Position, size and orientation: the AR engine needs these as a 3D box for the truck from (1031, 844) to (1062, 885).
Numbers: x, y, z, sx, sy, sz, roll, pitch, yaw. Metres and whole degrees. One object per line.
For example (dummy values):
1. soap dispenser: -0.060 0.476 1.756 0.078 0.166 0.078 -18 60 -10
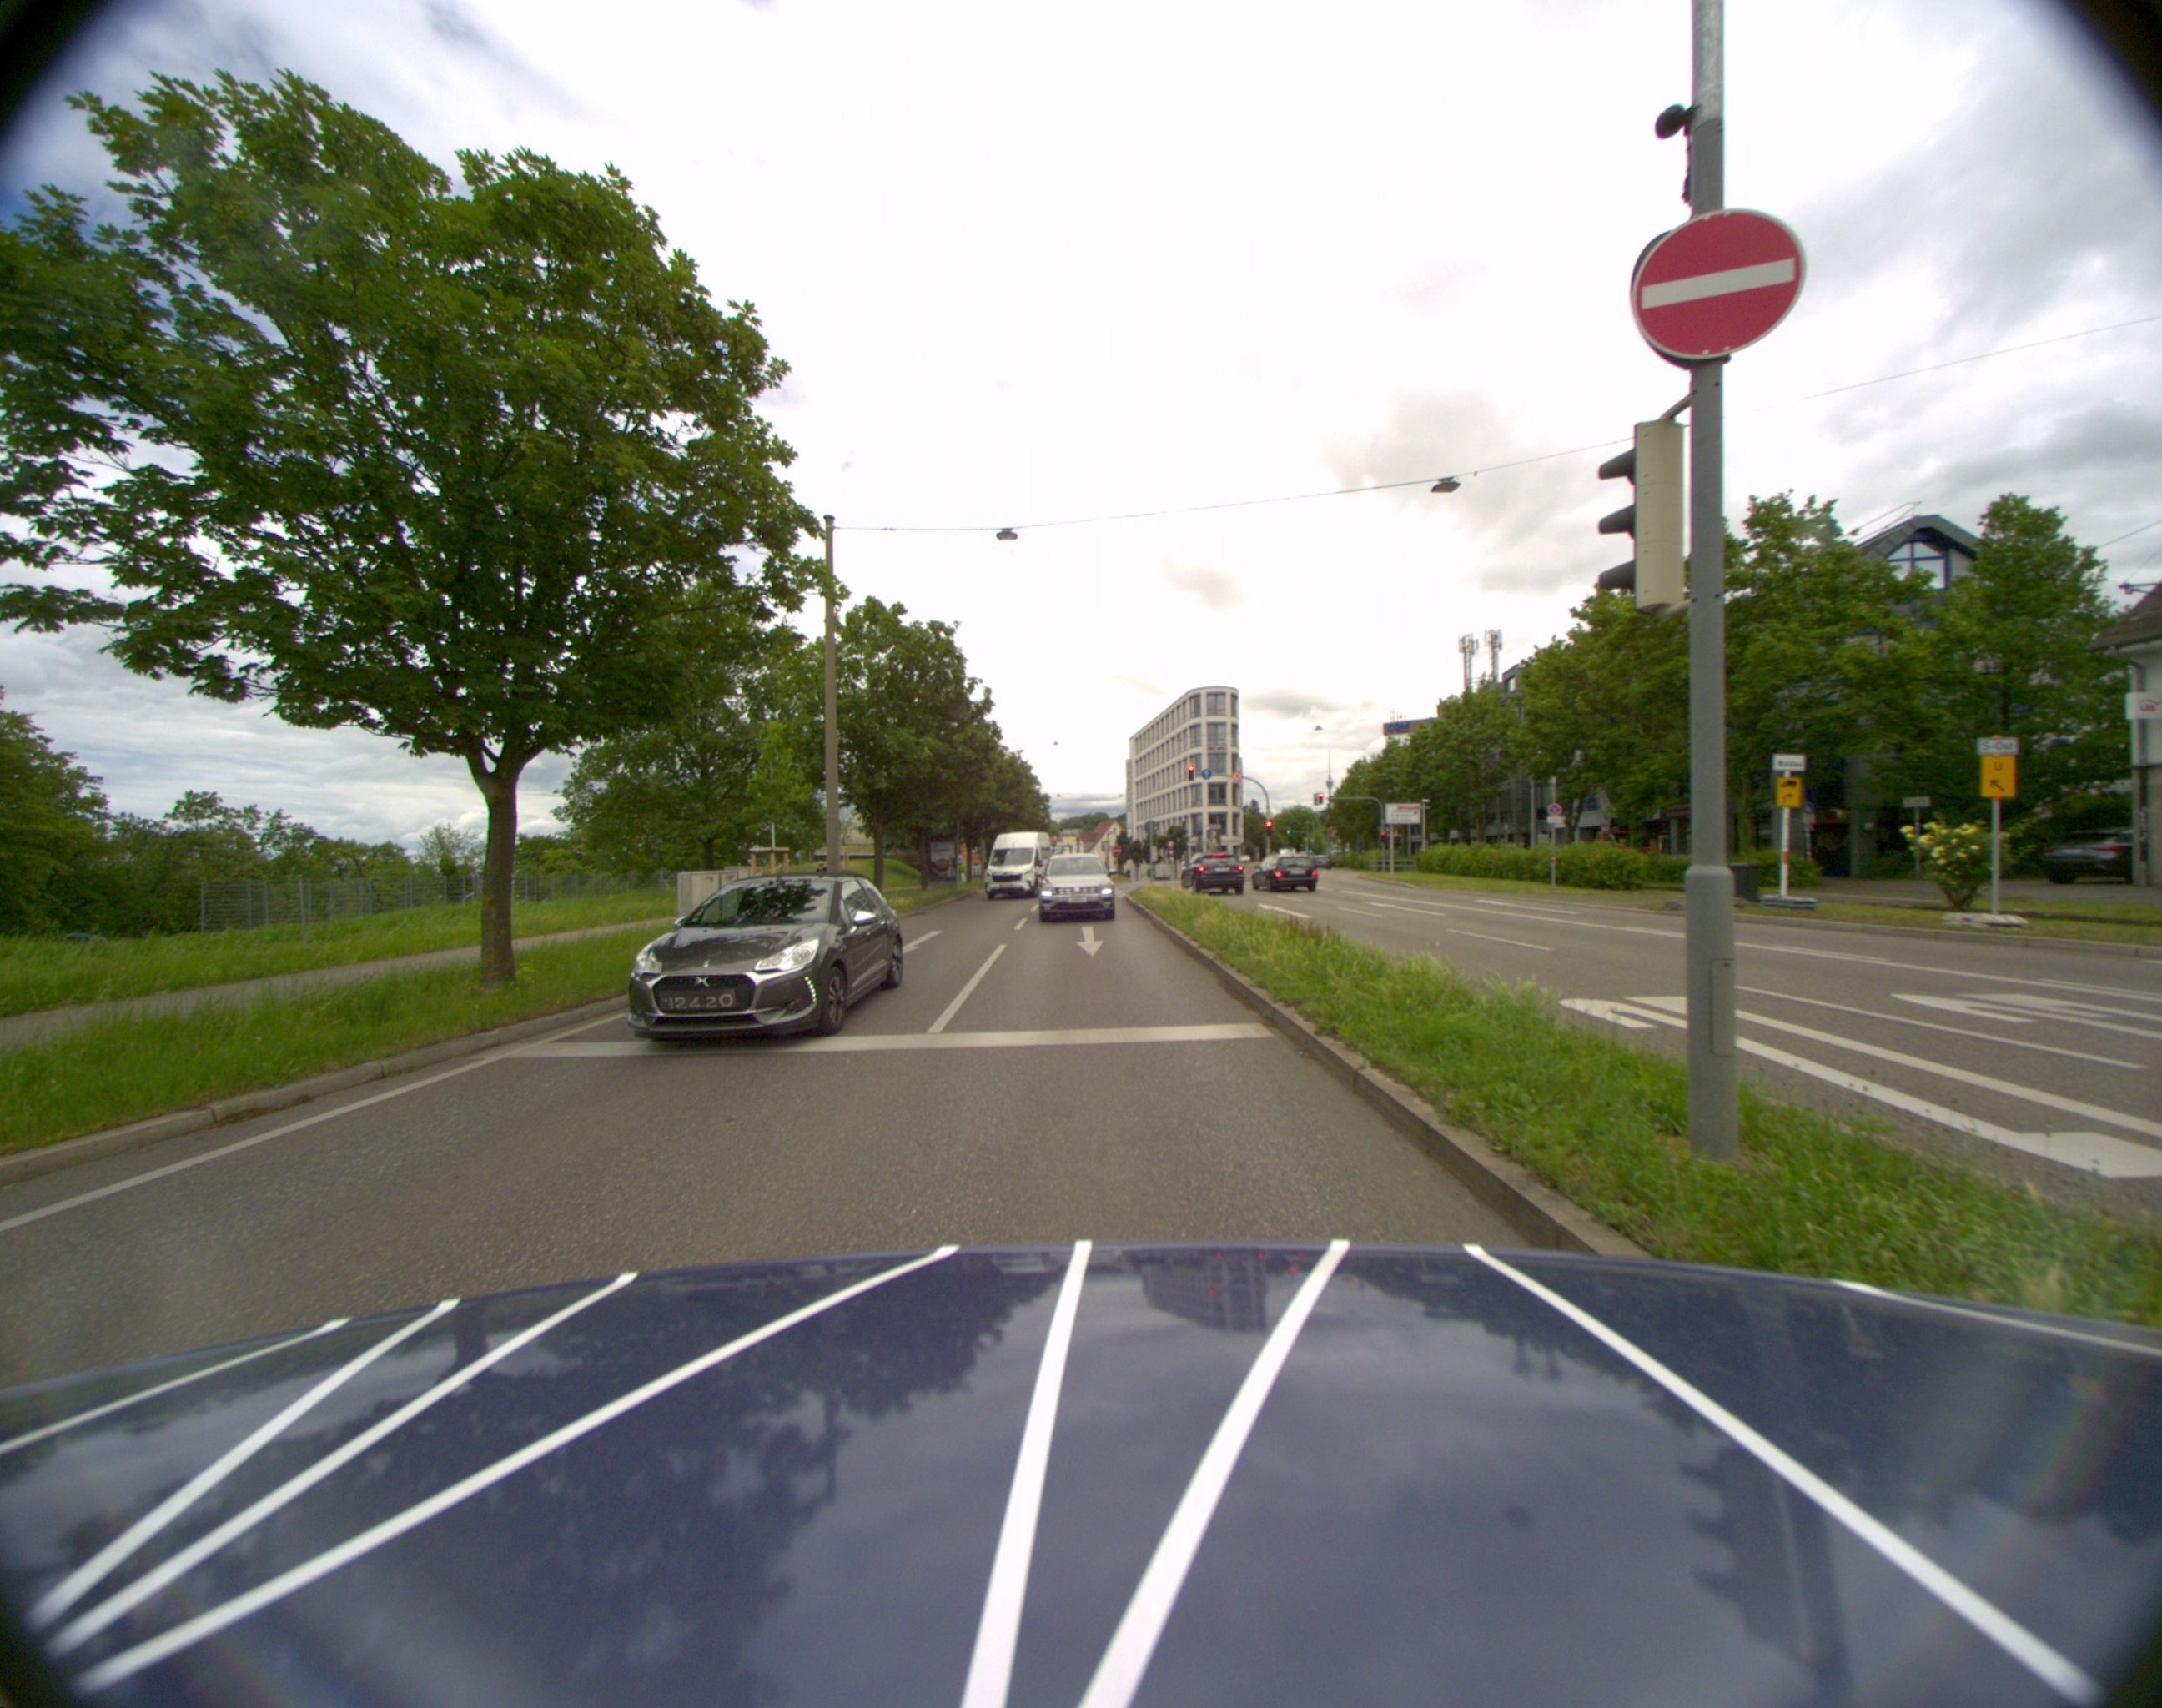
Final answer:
1. truck: -3.480 1.058 78.251 2.827 3.902 9.457 -2 -1 -2

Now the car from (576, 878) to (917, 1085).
1. car: -3.027 1.048 7.911 1.705 1.452 4.062 -2 -1 0

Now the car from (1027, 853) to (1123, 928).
1. car: -0.027 0.855 19.586 1.832 1.636 4.329 -2 -1 7

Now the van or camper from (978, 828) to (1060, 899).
1. van or camper: -2.496 0.402 32.525 2.109 2.674 6.303 -2 -1 7

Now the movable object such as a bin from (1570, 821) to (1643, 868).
1. movable object such as a bin: 29.631 -0.518 42.991 1.908 2.517 4.130 -1 1 11

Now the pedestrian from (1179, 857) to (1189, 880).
1. pedestrian: 8.683 1.251 63.907 0.755 1.906 0.588 1 -1 9

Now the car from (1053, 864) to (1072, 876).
1. car: -2.248 1.903 89.920 1.755 1.368 4.286 -2 -1 -7

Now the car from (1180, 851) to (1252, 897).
1. car: 5.063 0.753 29.111 1.893 1.555 4.396 -2 -1 -1

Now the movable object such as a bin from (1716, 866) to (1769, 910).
1. movable object such as a bin: 16.032 0.812 18.429 0.565 1.006 0.838 -1 0 2

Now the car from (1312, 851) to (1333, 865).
1. car: 27.616 0.501 87.030 1.786 1.528 4.401 -2 -1 13

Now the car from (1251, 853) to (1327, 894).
1. car: 8.036 0.748 29.784 1.787 1.417 4.397 -2 -1 1

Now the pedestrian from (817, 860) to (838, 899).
1. pedestrian: -10.586 1.052 31.699 0.542 1.594 0.702 3 -1 0

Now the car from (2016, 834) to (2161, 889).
1. car: 29.331 0.180 21.336 4.000 1.417 1.859 -2 -1 -3
